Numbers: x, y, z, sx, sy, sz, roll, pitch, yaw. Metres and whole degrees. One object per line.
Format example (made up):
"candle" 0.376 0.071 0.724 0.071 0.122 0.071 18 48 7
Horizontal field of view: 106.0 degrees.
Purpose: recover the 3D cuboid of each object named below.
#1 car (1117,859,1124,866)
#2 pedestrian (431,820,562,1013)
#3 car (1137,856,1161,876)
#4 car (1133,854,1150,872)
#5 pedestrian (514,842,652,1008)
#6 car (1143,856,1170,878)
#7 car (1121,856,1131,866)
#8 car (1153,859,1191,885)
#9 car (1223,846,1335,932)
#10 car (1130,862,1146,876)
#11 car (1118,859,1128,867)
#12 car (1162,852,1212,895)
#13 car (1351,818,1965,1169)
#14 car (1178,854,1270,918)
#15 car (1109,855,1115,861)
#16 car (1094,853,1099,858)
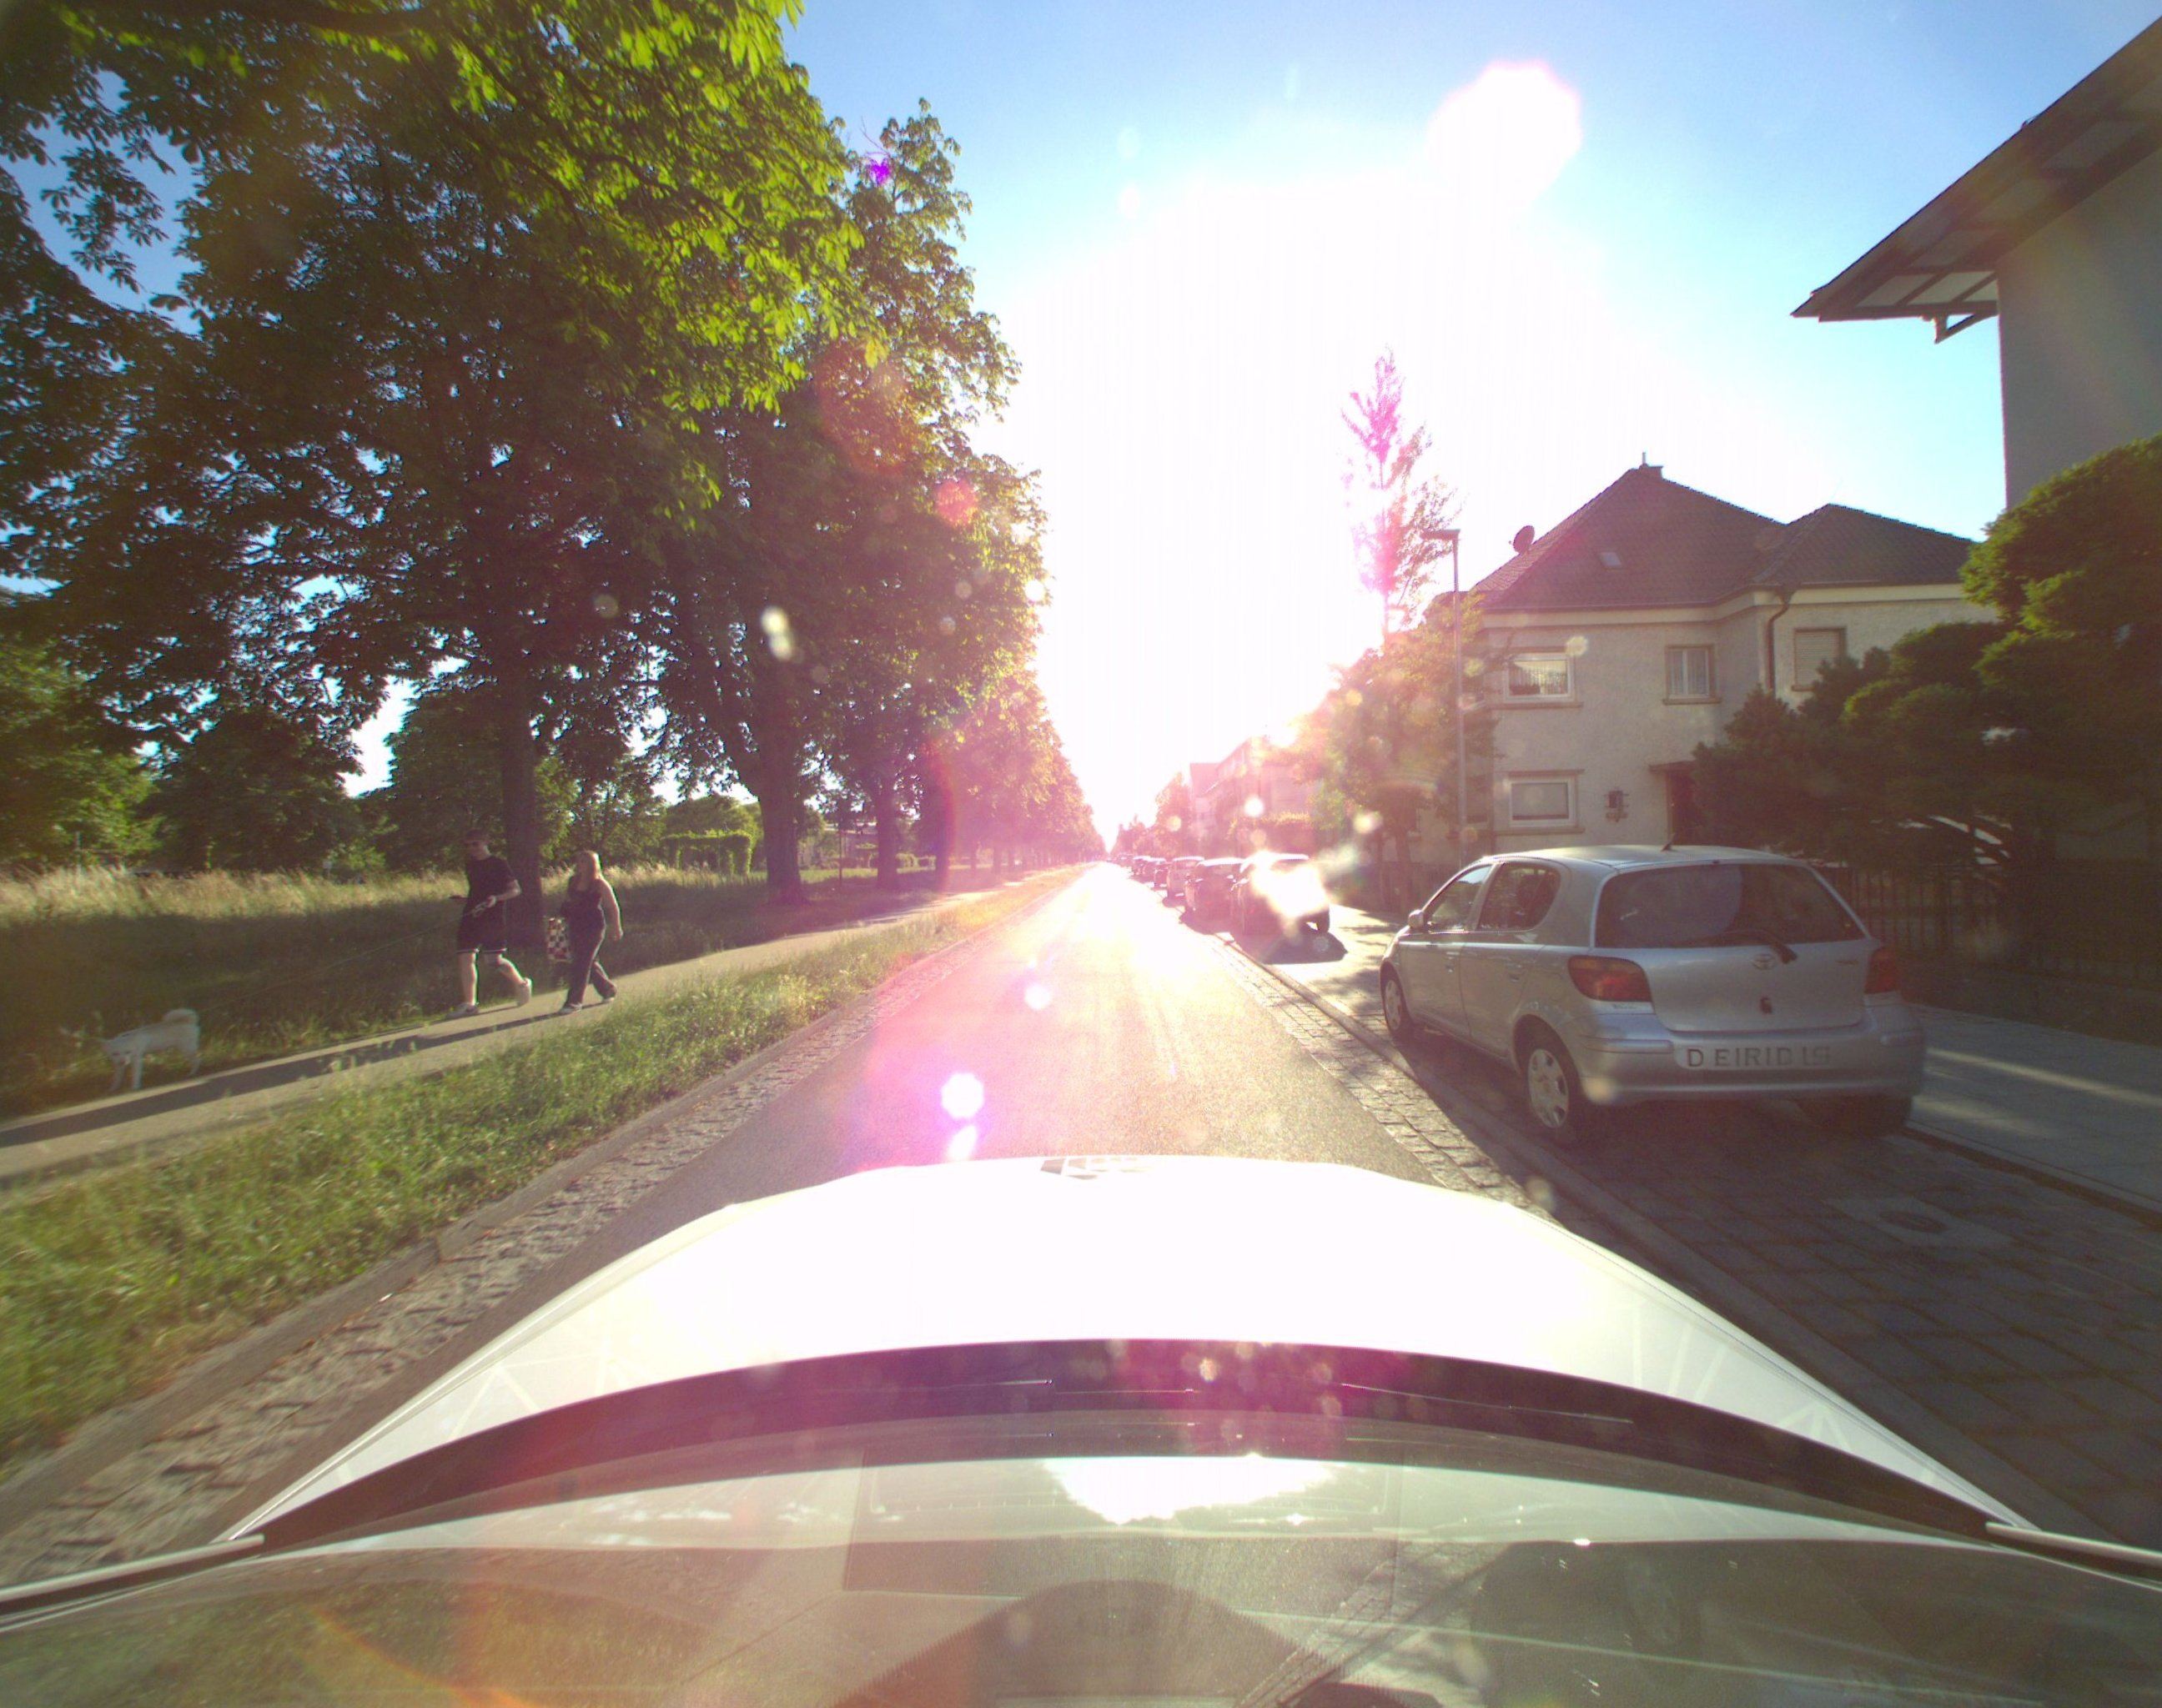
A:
"car" 8.712 1.950 179.508 1.645 1.541 3.269 0 -1 3
"pedestrian" -5.878 0.601 8.235 0.621 1.831 0.887 -1 -1 5
"car" 5.045 0.872 60.814 1.645 1.396 3.269 -1 -1 3
"car" 5.457 0.792 73.593 1.492 1.567 3.269 -1 -1 3
"pedestrian" -5.112 0.696 8.419 0.779 1.614 0.953 -1 -1 5
"car" 5.054 0.840 54.968 1.645 1.396 3.269 -1 -1 3
"car" 7.510 1.188 135.247 1.645 1.541 3.269 0 -1 3
"car" 4.535 0.890 41.122 1.686 1.248 3.500 -1 -1 3
"car" 3.908 0.671 16.628 1.649 1.494 3.721 -3 -1 6
"car" 6.053 1.546 86.662 1.587 1.434 3.269 -1 -1 3
"car" 7.616 1.646 147.838 1.645 1.541 3.269 0 -1 3
"car" 3.998 0.738 31.155 1.586 1.510 3.594 -1 -1 3
"car" 3.192 0.632 5.484 1.621 1.505 3.635 -3 0 3
"car" 3.688 0.809 21.704 1.731 1.449 4.197 -3 -1 1
"car" 8.339 1.044 218.627 1.646 1.541 3.268 0 -1 2
"car" 4.684 0.432 245.190 1.646 1.541 3.268 0 -1 2
